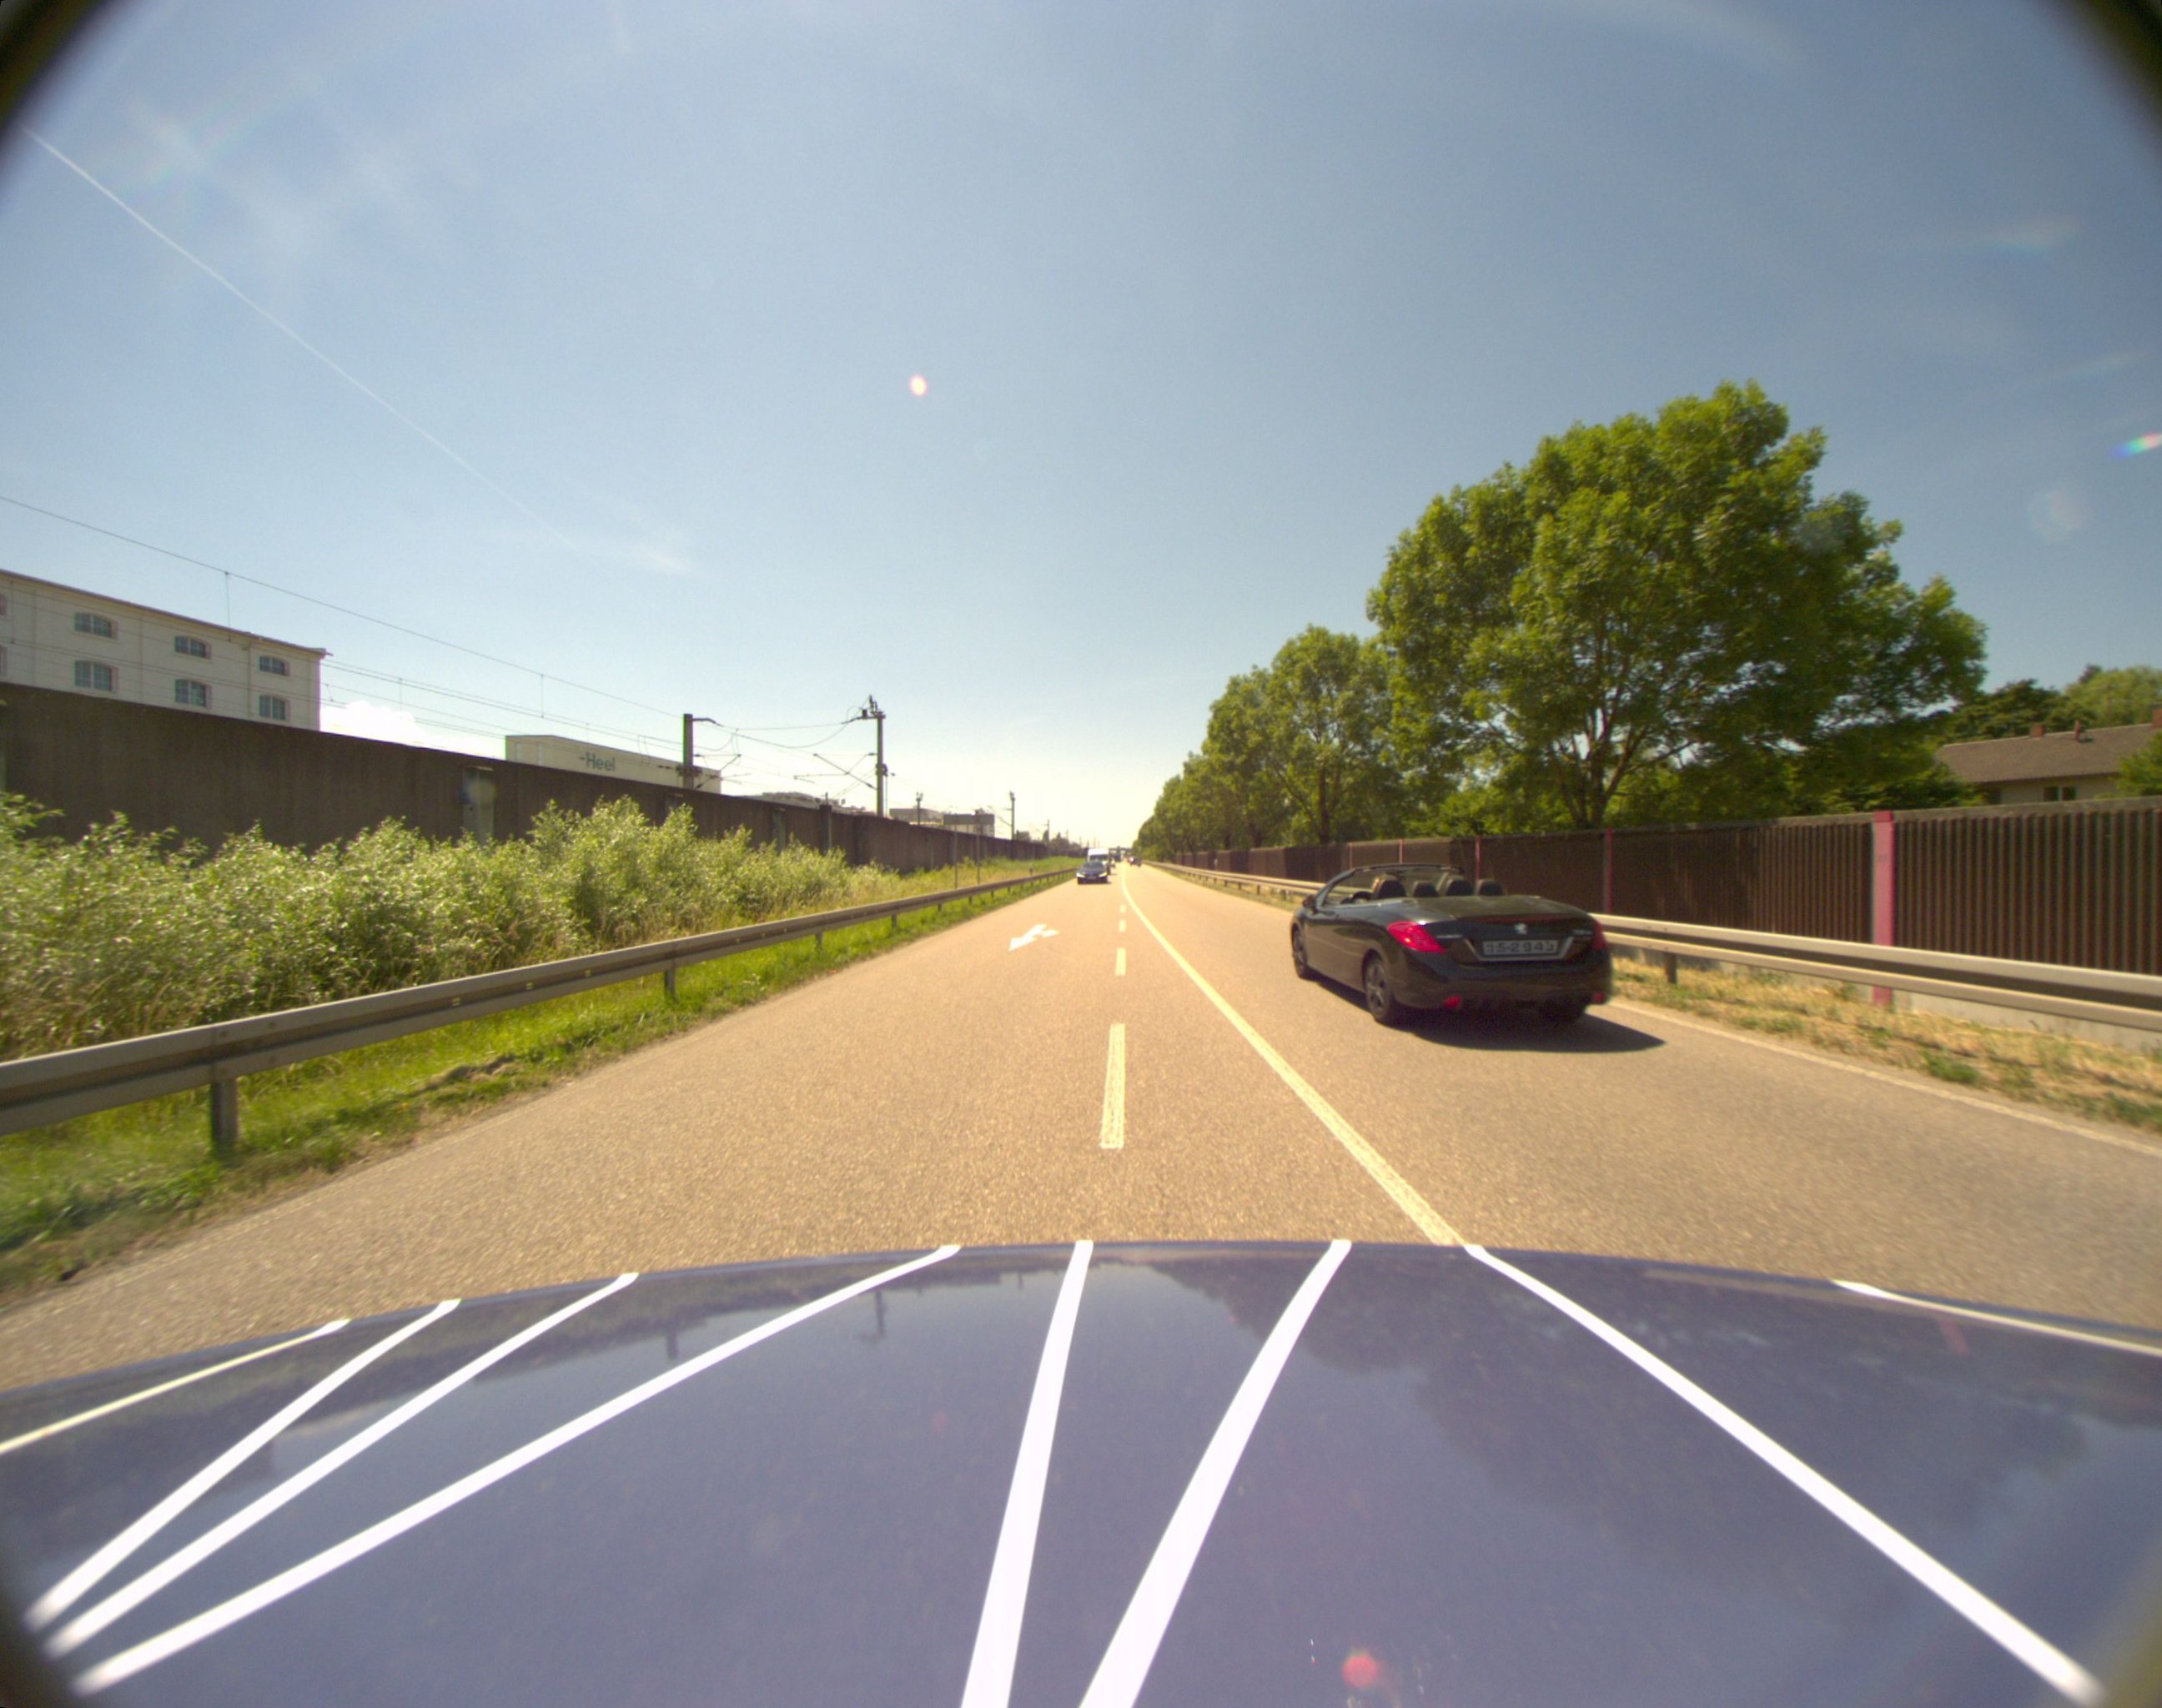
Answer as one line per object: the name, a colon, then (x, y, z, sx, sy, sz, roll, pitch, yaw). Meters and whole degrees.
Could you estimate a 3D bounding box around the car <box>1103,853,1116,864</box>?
car: (4.249, 0.638, 113.639, 1.822, 1.554, 4.278, -1, 0, 1)

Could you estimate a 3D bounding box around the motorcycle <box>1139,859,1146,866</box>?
motorcycle: (9.445, 1.235, 117.217, 0.951, 1.023, 2.386, -2, 0, 3)

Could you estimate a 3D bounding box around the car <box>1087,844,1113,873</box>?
car: (1.884, 0.410, 71.790, 2.193, 2.588, 6.752, -2, 0, 3)

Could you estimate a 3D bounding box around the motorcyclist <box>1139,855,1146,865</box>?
motorcyclist: (9.431, 0.938, 117.150, 0.951, 1.536, 1.214, -2, 0, 2)

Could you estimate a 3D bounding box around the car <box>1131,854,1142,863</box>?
car: (10.265, 0.809, 140.476, 1.757, 1.499, 4.530, -2, 0, 3)

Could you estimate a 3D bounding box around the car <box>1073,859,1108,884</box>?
car: (0.632, 1.041, 46.453, 1.861, 1.371, 4.504, -2, 0, 4)

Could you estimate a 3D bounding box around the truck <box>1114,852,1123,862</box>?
truck: (11.648, 1.028, 238.590, 2.616, 3.024, 10.657, -1, 0, 2)

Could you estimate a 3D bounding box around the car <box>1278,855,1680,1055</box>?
car: (3.432, 0.740, 7.612, 1.849, 1.382, 4.190, -2, 0, 1)
